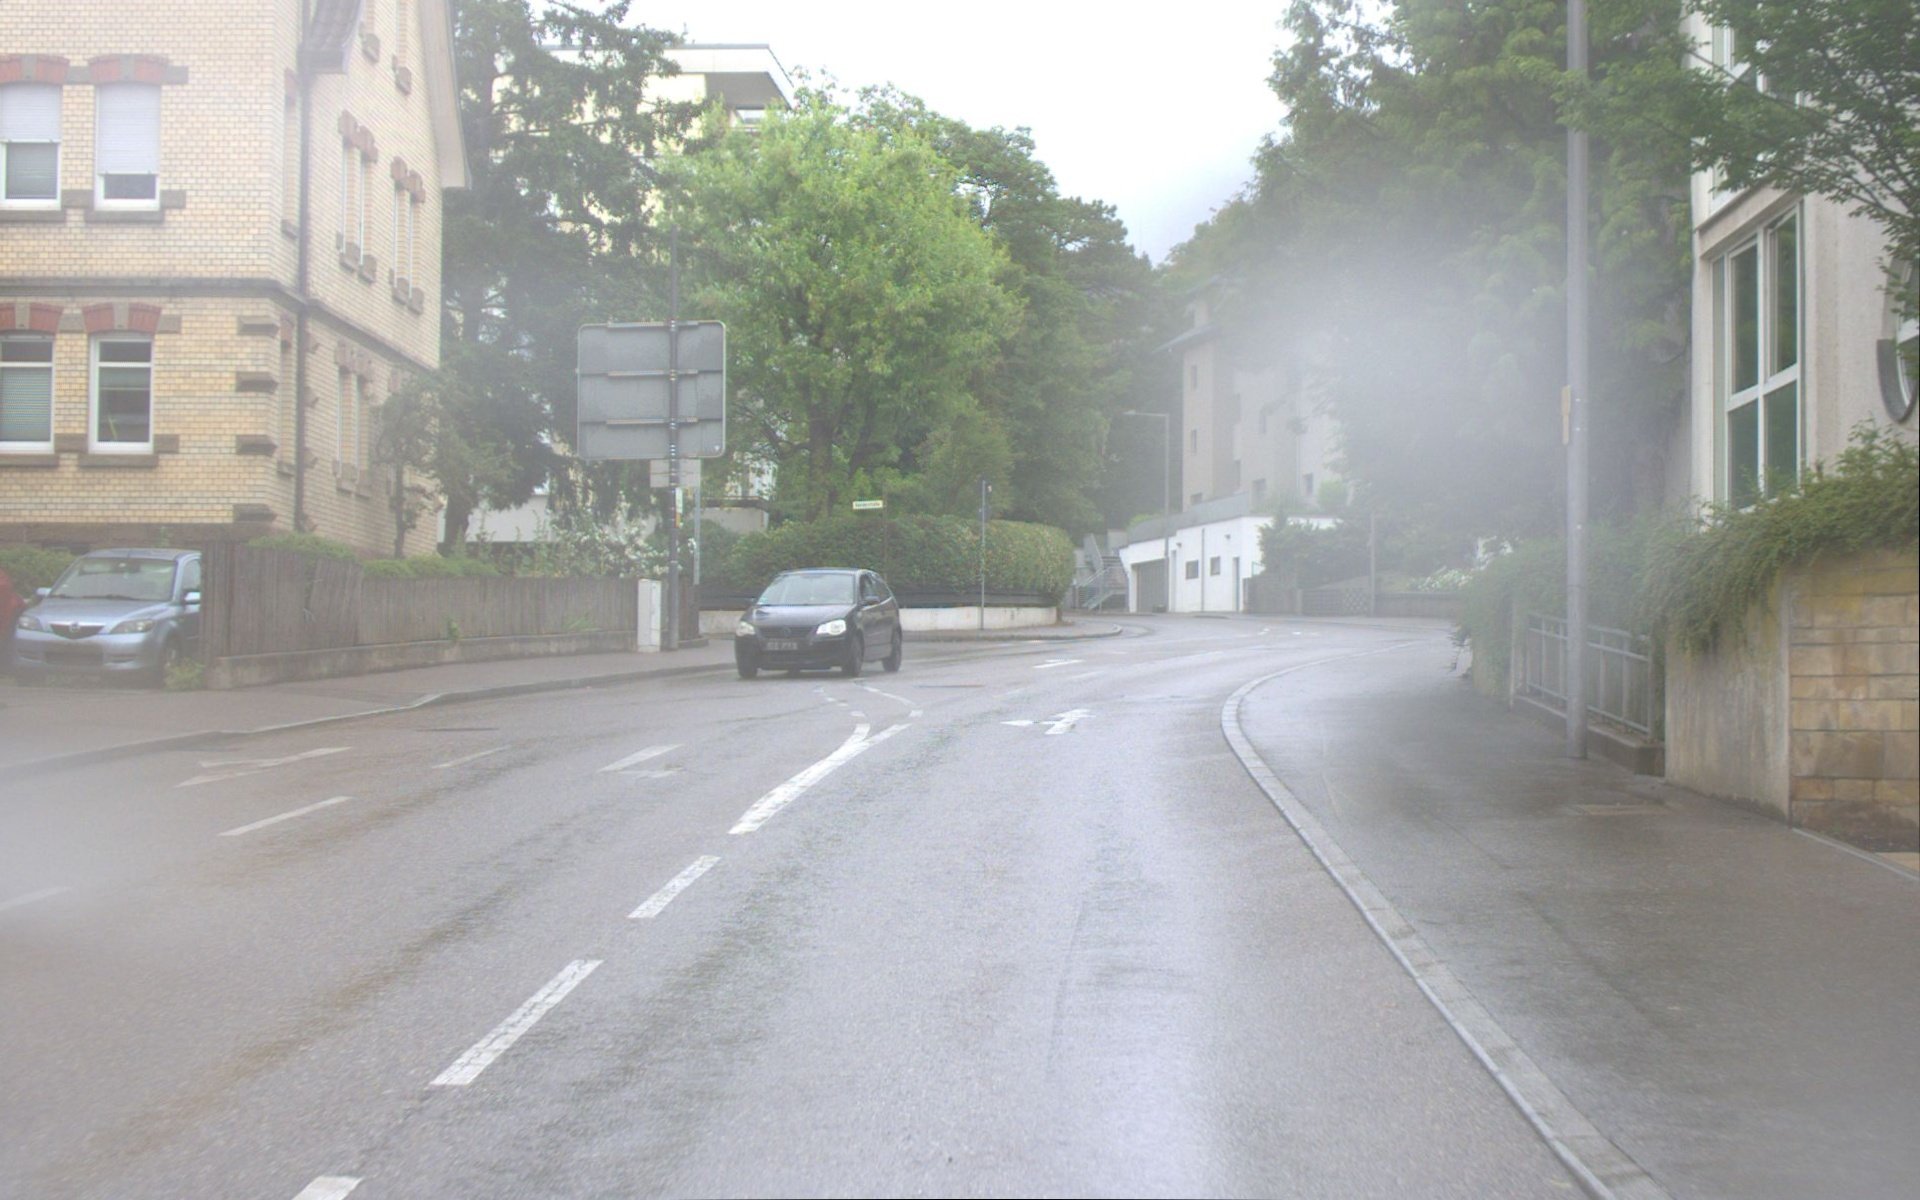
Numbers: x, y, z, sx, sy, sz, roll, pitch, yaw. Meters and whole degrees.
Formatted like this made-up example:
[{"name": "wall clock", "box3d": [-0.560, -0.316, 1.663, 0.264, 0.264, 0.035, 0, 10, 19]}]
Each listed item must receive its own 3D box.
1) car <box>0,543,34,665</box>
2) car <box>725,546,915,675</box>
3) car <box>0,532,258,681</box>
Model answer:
[{"name": "car", "box3d": [-11.733, 0.047, 38.104, 1.771, 1.362, 3.883, 2, 1, 2]}, {"name": "car", "box3d": [-1.855, 0.128, 46.600, 1.746, 1.566, 3.811, 4, 1, 9]}, {"name": "car", "box3d": [-9.069, 0.026, 37.543, 1.771, 1.498, 3.882, 2, 1, 3]}]
